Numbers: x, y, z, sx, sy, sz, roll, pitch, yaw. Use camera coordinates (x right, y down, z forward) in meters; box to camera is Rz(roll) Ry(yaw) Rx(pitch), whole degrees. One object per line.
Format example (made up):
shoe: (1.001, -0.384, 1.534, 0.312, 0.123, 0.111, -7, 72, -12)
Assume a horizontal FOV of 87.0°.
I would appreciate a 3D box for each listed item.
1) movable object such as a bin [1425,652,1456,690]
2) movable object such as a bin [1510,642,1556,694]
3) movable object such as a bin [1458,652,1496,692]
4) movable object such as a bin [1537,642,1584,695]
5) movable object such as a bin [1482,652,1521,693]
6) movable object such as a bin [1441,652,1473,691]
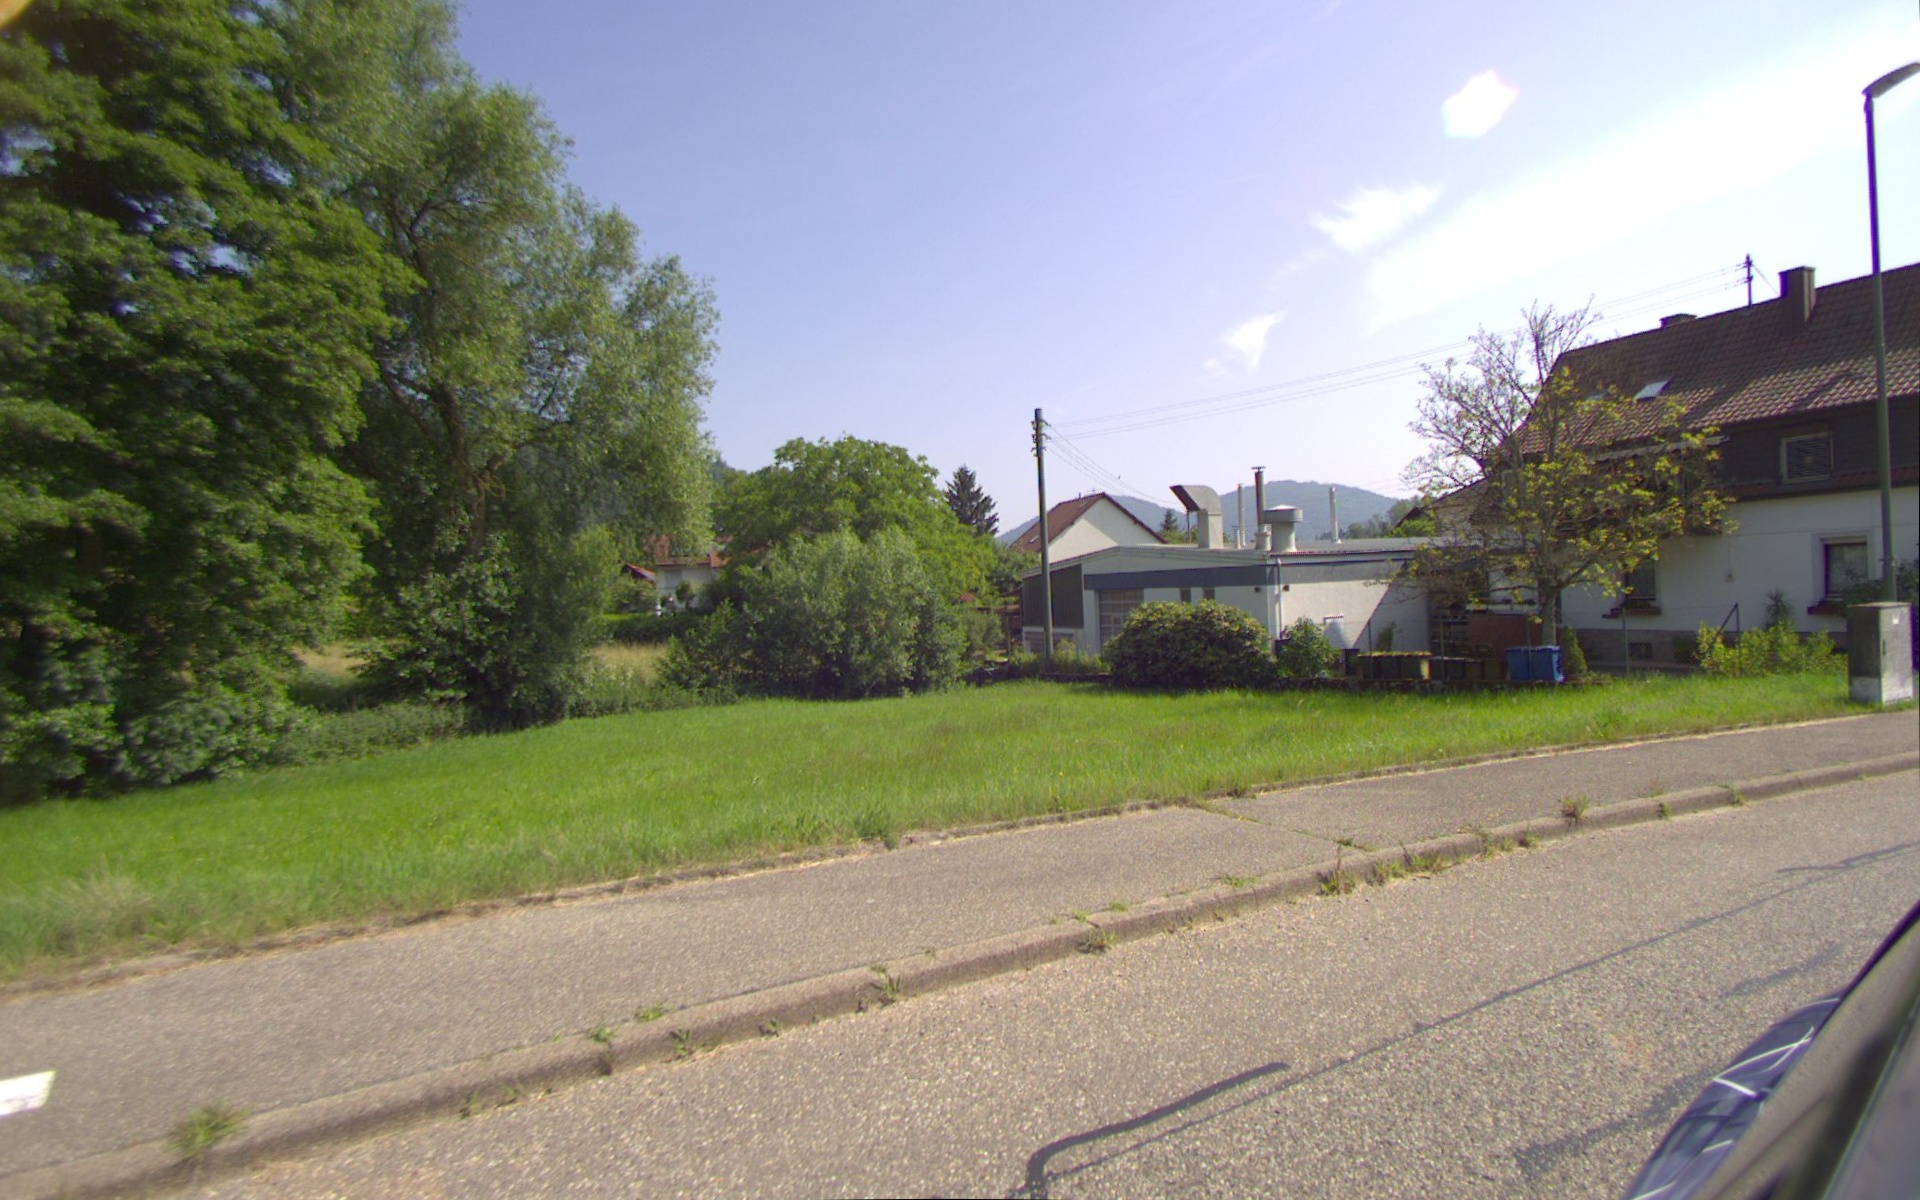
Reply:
movable object such as a bin: (11.886, 1.755, 25.057, 0.575, 0.911, 0.420, -1, -2, -35)
movable object such as a bin: (13.149, 1.548, 23.220, 0.783, 1.133, 0.569, -1, -2, -35)
movable object such as a bin: (12.400, 1.715, 24.275, 0.575, 0.911, 0.569, -1, -2, -35)
movable object such as a bin: (13.490, 1.522, 22.734, 0.778, 1.133, 0.569, -1, -2, -35)
movable object such as a bin: (12.738, 1.689, 23.792, 0.575, 0.911, 0.569, -1, -2, -35)
movable object such as a bin: (12.125, 1.736, 24.696, 0.575, 0.911, 0.420, -1, -2, -35)
